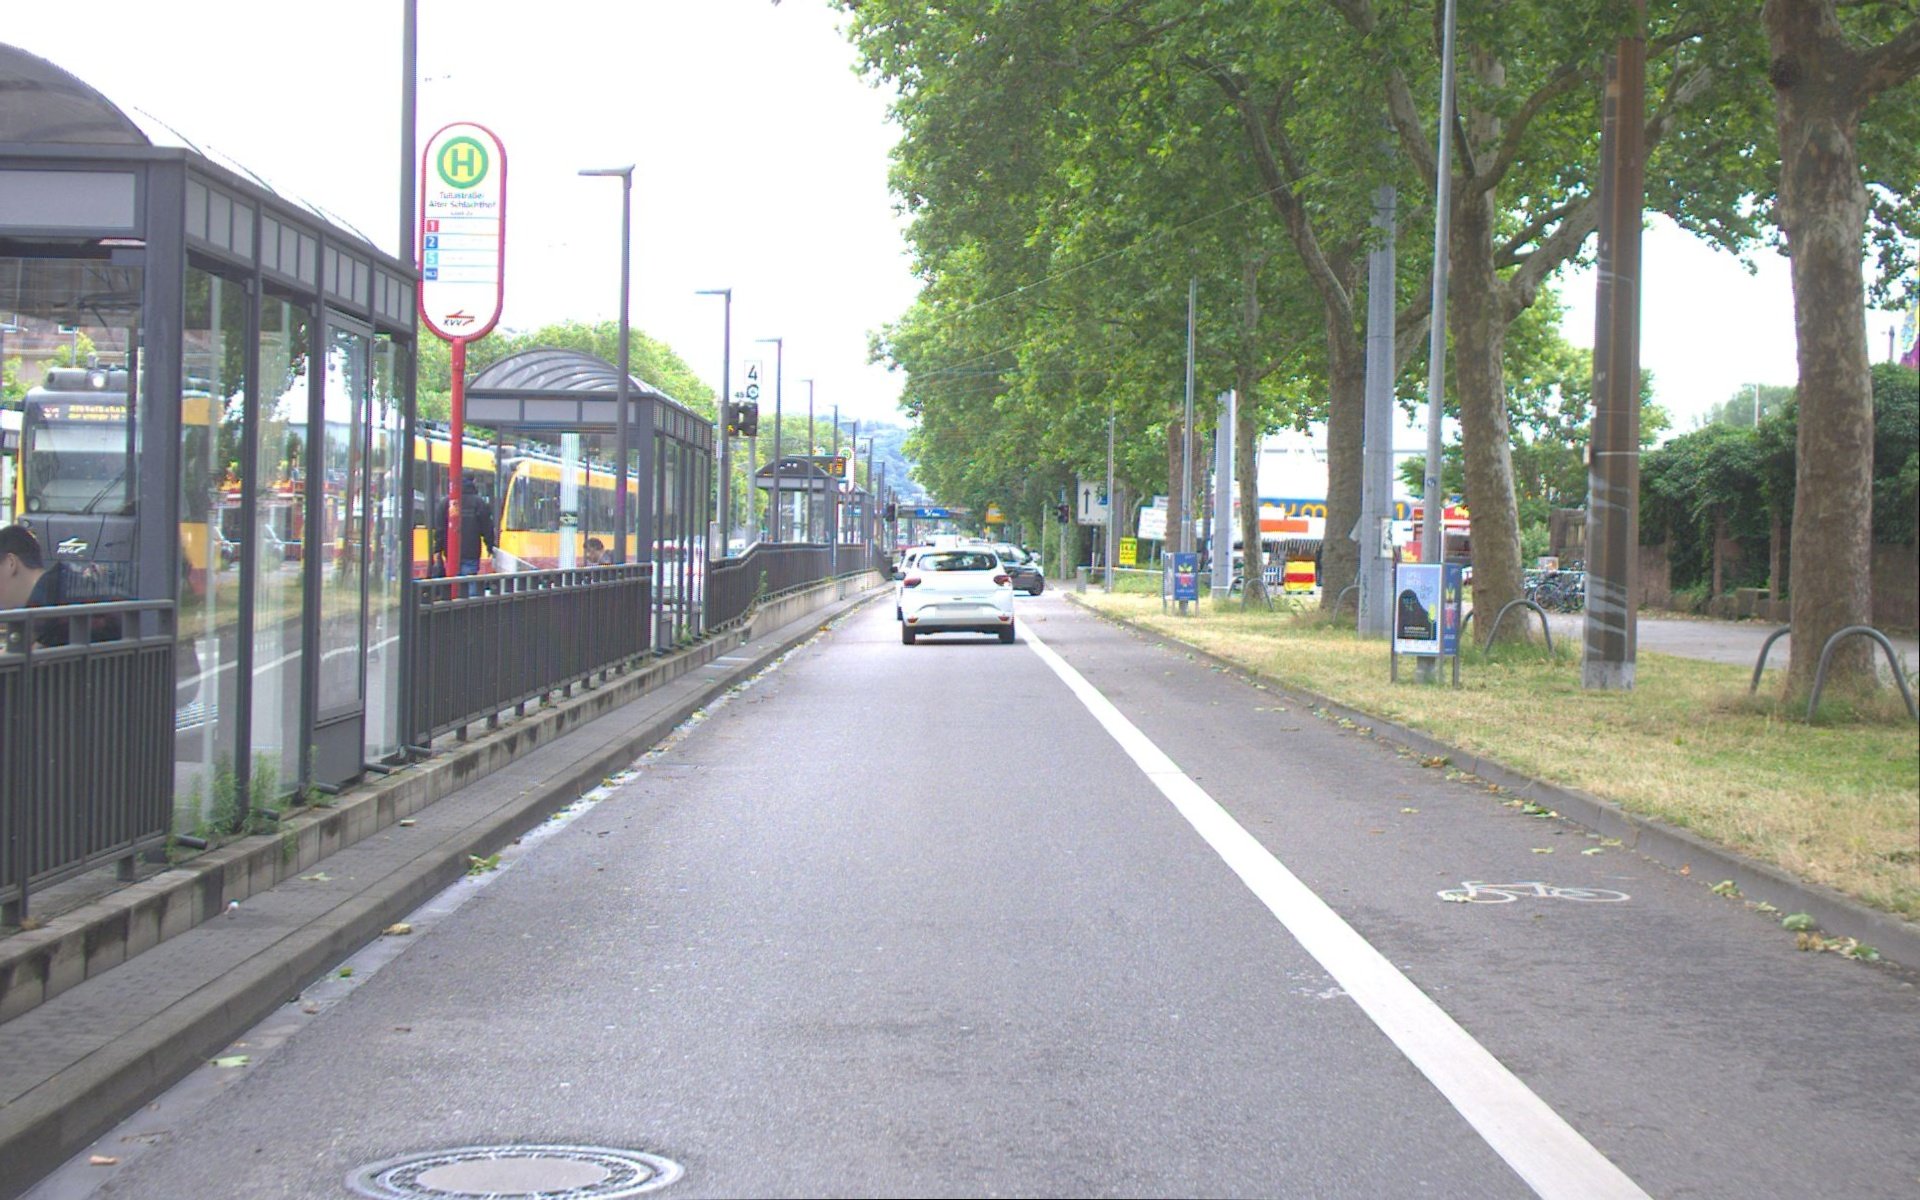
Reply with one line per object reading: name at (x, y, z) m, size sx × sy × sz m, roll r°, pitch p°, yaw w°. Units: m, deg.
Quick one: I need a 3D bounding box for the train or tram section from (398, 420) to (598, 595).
train or tram section at (-11.946, -2.282, 90.549) m, size 3.180 × 4.164 × 14.734 m, roll 1°, pitch 0°, yaw 0°

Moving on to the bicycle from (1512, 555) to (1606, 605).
bicycle at (13.268, -0.438, 76.142) m, size 1.974 × 1.091 × 0.550 m, roll 0°, pitch 0°, yaw -1°

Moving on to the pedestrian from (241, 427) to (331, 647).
pedestrian at (-5.622, -0.520, 28.655) m, size 0.670 × 1.787 × 1.113 m, roll 1°, pitch 0°, yaw -13°

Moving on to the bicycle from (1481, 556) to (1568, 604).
bicycle at (13.138, -0.467, 80.084) m, size 1.921 × 1.087 × 0.550 m, roll 0°, pitch 0°, yaw -1°

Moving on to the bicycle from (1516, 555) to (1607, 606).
bicycle at (13.209, -0.425, 75.504) m, size 1.900 × 1.093 × 0.550 m, roll 0°, pitch 0°, yaw -1°

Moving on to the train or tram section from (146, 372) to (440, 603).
train or tram section at (-12.145, -1.943, 63.831) m, size 3.163 × 3.849 × 11.311 m, roll 1°, pitch 0°, yaw 0°

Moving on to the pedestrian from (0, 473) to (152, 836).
pedestrian at (-3.454, 0.199, 13.046) m, size 0.610 × 1.336 × 0.600 m, roll 1°, pitch 0°, yaw 0°

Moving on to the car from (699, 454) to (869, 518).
car at (-4.285, -2.783, 84.107) m, size 3.987 × 1.481 × 1.786 m, roll 1°, pitch 1°, yaw 3°

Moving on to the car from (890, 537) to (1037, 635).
car at (0.094, -0.229, 54.037) m, size 1.886 × 1.448 × 3.999 m, roll 1°, pitch 0°, yaw 6°

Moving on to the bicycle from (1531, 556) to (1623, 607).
bicycle at (13.452, -0.407, 74.930) m, size 1.889 × 1.101 × 0.550 m, roll 0°, pitch 0°, yaw -1°

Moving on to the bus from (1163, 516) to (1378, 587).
bus at (13.729, -2.131, 152.424) m, size 9.276 × 2.950 × 2.000 m, roll 1°, pitch 0°, yaw -2°

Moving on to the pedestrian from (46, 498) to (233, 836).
pedestrian at (-3.411, 0.272, 14.332) m, size 0.610 × 1.368 × 0.600 m, roll 1°, pitch 0°, yaw 0°

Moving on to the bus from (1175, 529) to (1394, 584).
bus at (14.060, -1.880, 149.253) m, size 9.276 × 2.220 × 2.000 m, roll 1°, pitch 0°, yaw -2°

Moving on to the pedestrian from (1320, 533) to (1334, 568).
pedestrian at (15.287, -2.073, 143.167) m, size 0.492 × 1.458 × 0.524 m, roll 1°, pitch 0°, yaw -3°

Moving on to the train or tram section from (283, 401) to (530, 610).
train or tram section at (-12.049, -1.961, 76.393) m, size 3.180 × 4.164 × 13.620 m, roll 1°, pitch 0°, yaw 0°

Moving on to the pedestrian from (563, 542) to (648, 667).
pedestrian at (-3.770, 0.045, 36.591) m, size 0.835 × 1.299 × 0.613 m, roll 1°, pitch 0°, yaw -1°

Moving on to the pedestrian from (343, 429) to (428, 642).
pedestrian at (-4.932, -0.547, 29.560) m, size 0.670 × 1.787 × 1.113 m, roll 1°, pitch 0°, yaw -9°

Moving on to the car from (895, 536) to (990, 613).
car at (-0.341, -0.542, 71.352) m, size 1.841 × 1.546 × 4.000 m, roll 1°, pitch 1°, yaw 1°

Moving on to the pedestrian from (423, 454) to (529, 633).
pedestrian at (-5.532, -0.640, 39.317) m, size 1.058 × 2.007 × 0.840 m, roll 1°, pitch 0°, yaw 0°

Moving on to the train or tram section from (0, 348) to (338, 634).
train or tram section at (-12.181, -1.527, 52.429) m, size 3.237 × 3.849 × 11.311 m, roll 1°, pitch 0°, yaw 0°
